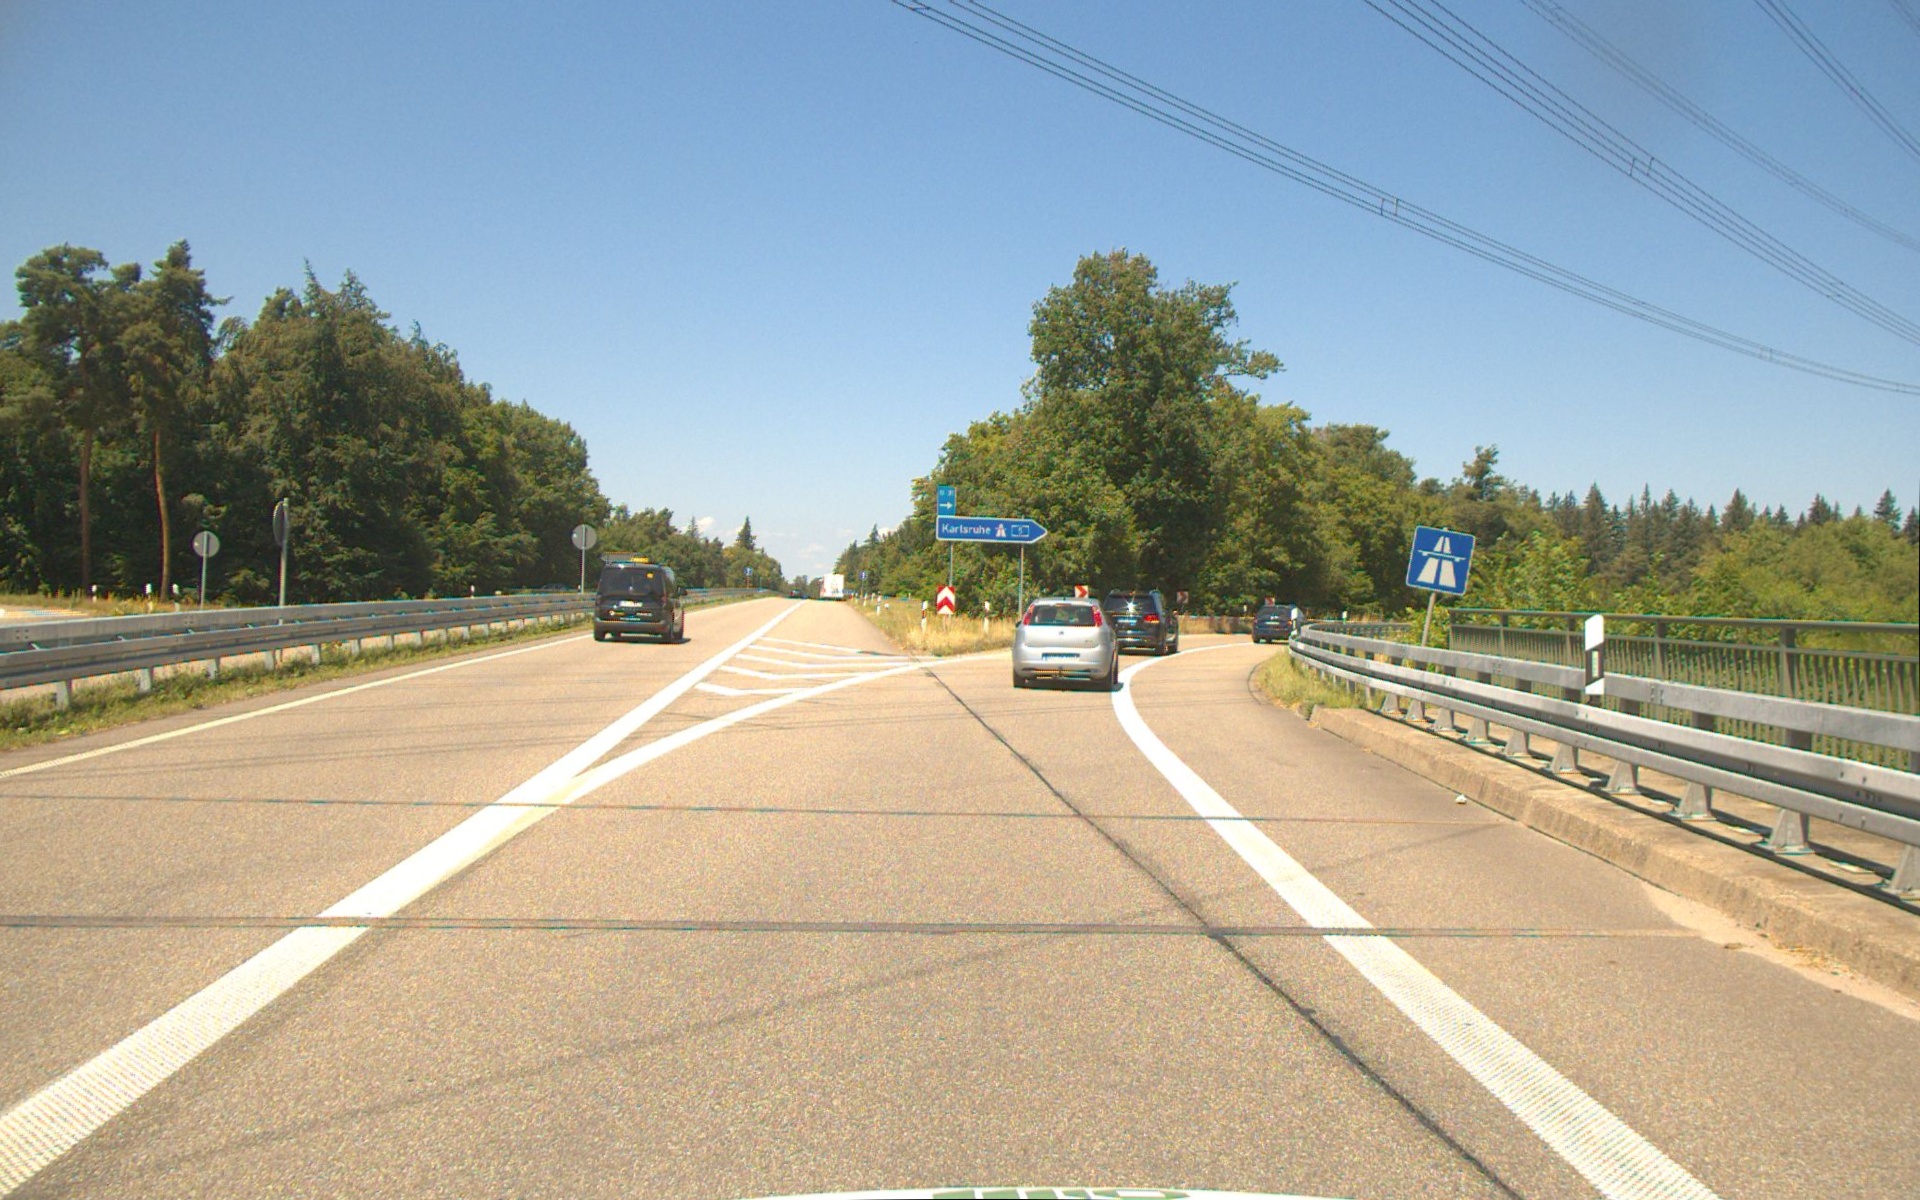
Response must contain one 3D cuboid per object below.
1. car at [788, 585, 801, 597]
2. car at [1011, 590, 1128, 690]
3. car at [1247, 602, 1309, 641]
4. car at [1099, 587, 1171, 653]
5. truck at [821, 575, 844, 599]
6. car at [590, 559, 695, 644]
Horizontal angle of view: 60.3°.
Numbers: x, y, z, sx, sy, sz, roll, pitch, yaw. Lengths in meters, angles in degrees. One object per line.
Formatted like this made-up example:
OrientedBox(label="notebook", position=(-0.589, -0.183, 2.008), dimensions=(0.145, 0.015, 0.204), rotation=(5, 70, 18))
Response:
OrientedBox(label="car", position=(-23.431, -1.285, 233.944), dimensions=(1.679, 1.497, 3.571), rotation=(3, 0, -4))
OrientedBox(label="car", position=(1.904, 0.632, 27.884), dimensions=(1.605, 1.493, 3.422), rotation=(3, 0, 9))
OrientedBox(label="car", position=(12.103, 0.808, 62.850), dimensions=(1.607, 1.366, 3.573), rotation=(3, 0, 21))
OrientedBox(label="car", position=(4.939, 0.551, 46.245), dimensions=(1.605, 1.682, 3.577), rotation=(3, 0, 11))
OrientedBox(label="truck", position=(-14.954, -1.547, 194.075), dimensions=(2.567, 2.688, 7.659), rotation=(1, 0, -5))
OrientedBox(label="car", position=(-7.603, 0.009, 40.055), dimensions=(1.818, 1.920, 5.569), rotation=(0, 0, -4))
